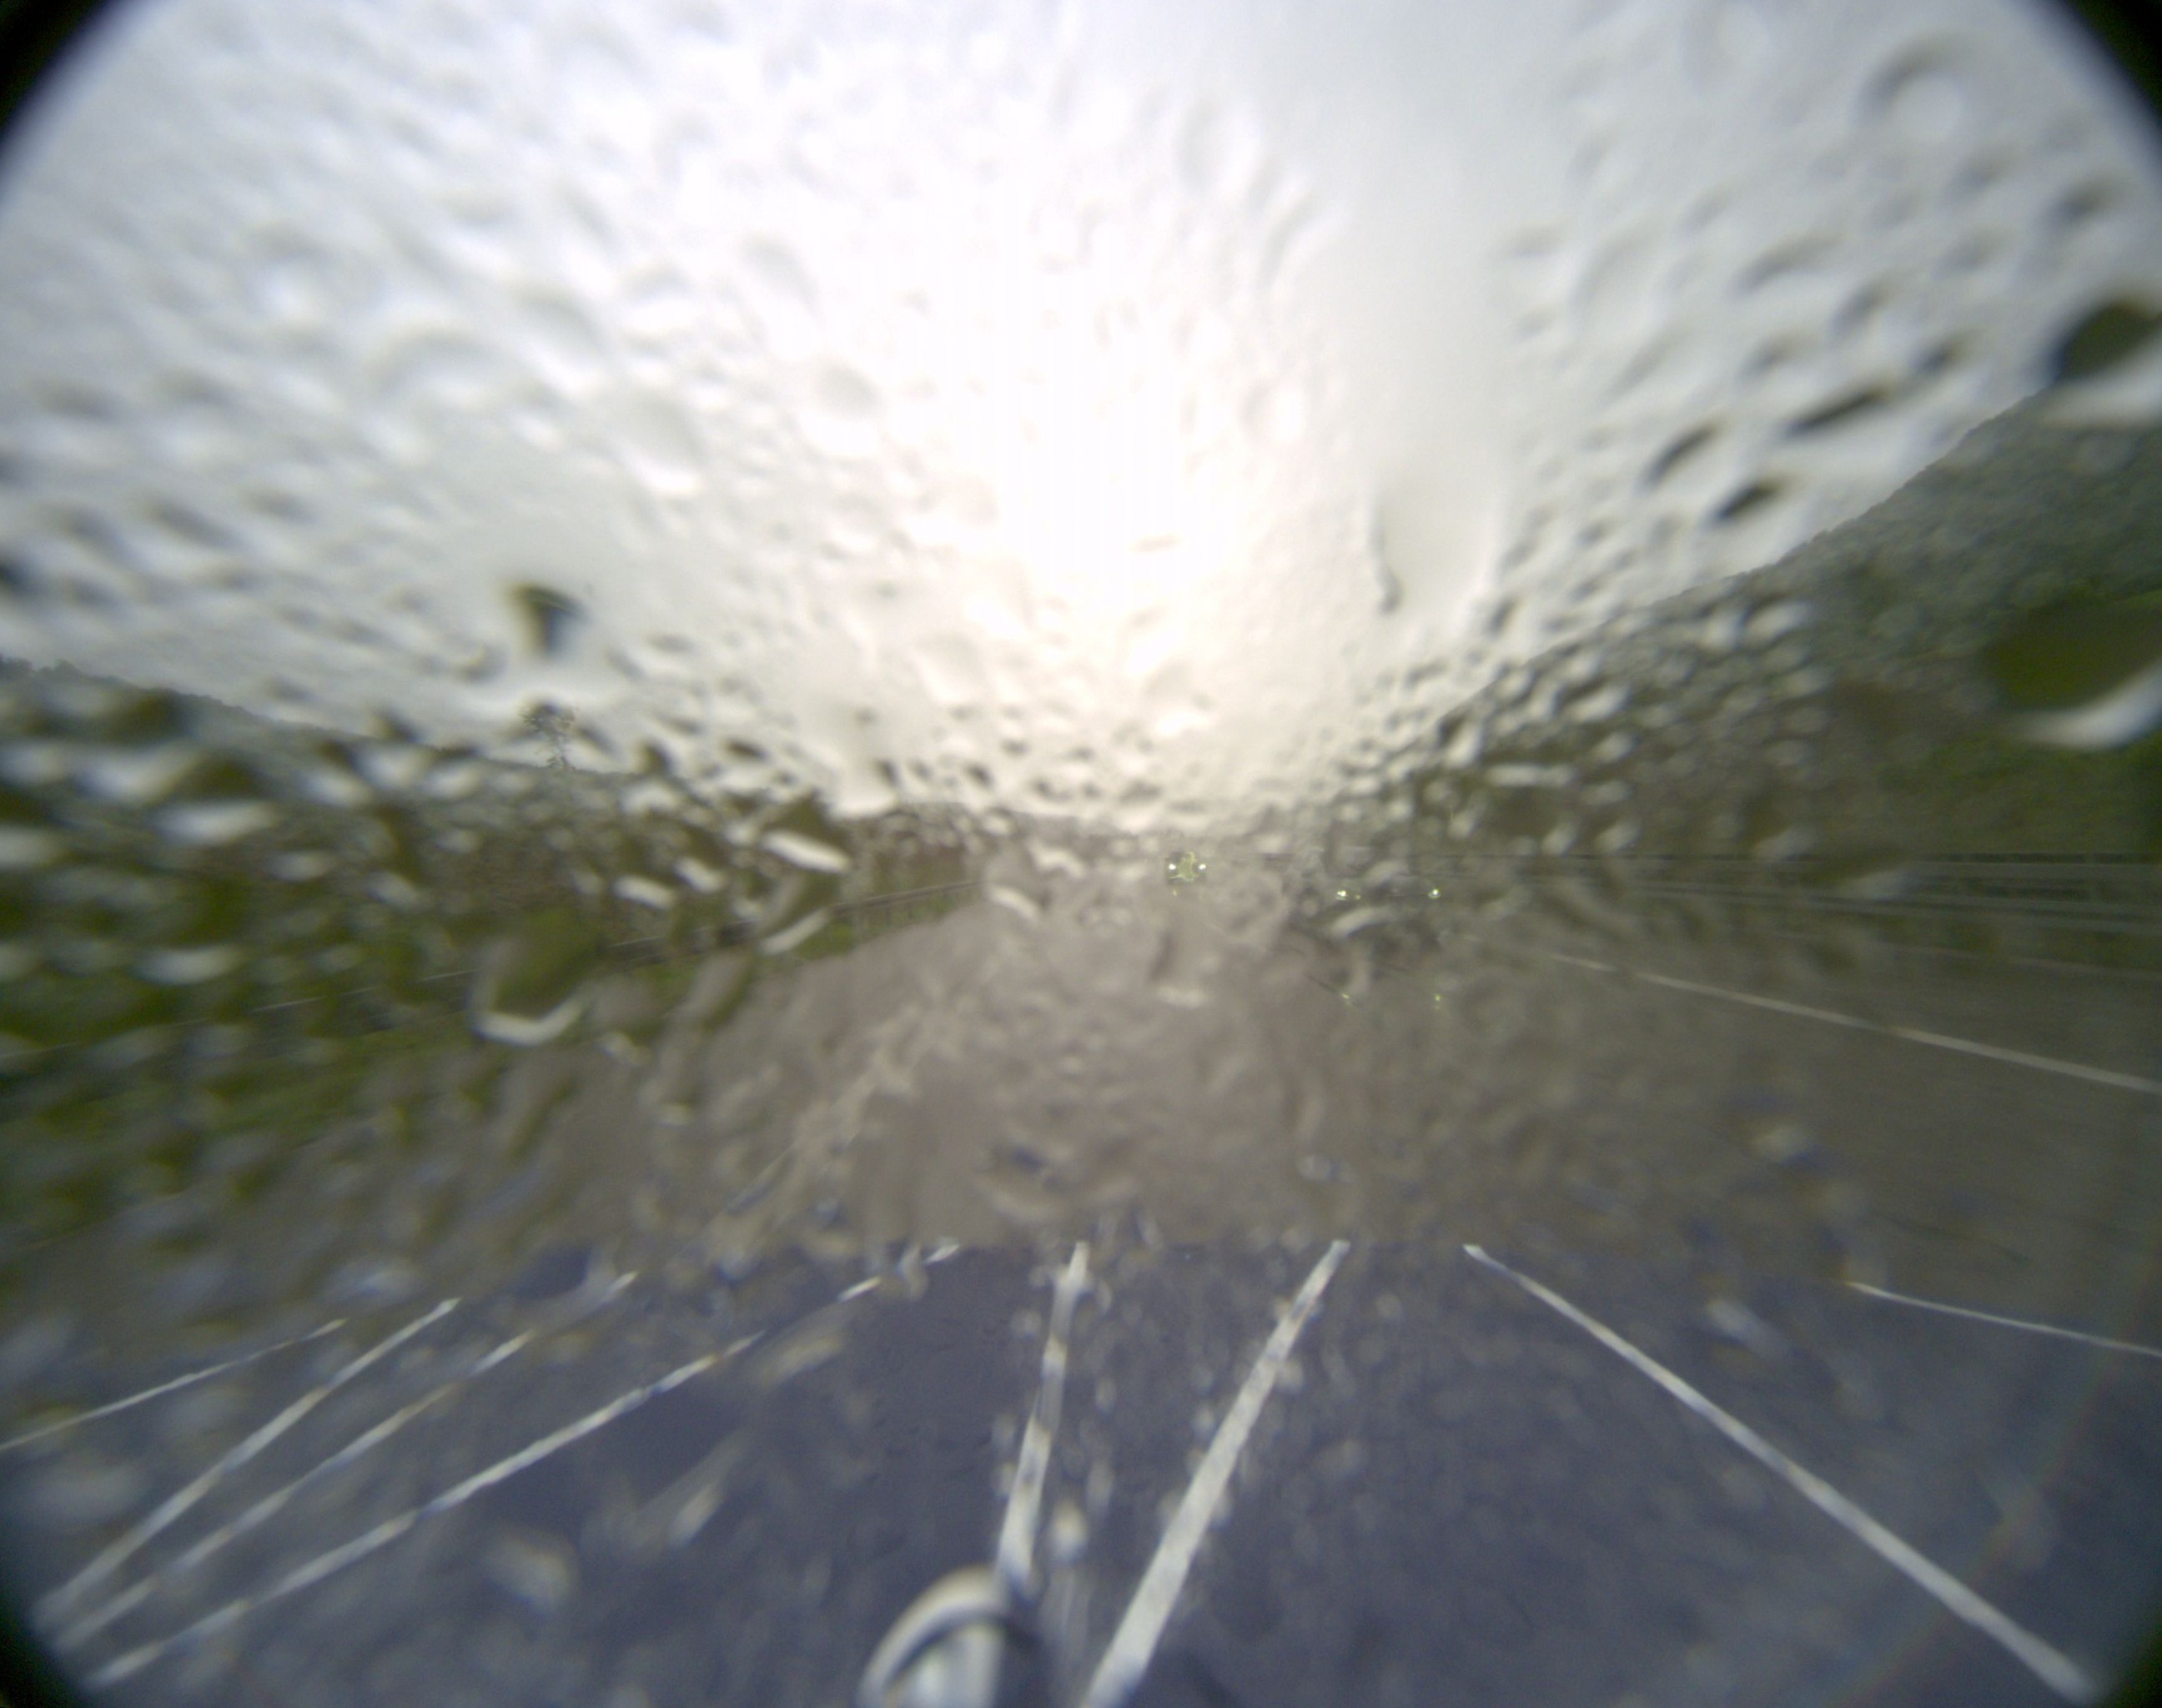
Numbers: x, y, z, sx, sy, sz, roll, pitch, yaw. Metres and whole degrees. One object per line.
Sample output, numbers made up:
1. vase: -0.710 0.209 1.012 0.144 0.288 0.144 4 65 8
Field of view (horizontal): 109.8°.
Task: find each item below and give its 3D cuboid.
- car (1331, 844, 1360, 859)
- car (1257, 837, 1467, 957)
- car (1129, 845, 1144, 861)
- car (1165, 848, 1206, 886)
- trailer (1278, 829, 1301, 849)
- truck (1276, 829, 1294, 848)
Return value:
1. car: 25.718 -0.227 73.994 1.798 1.412 3.776 -2 0 4
2. car: 4.789 0.614 13.866 1.998 1.673 4.909 -4 1 1
3. car: 7.765 -0.147 106.396 1.835 2.002 3.939 -4 1 4
4. car: 5.411 0.636 39.096 1.813 1.692 3.751 -3 1 11
5. trailer: 40.030 -2.880 146.114 2.818 3.660 13.254 -2 0 9
6. truck: 41.268 -3.028 153.637 2.785 3.662 6.211 -2 1 9
